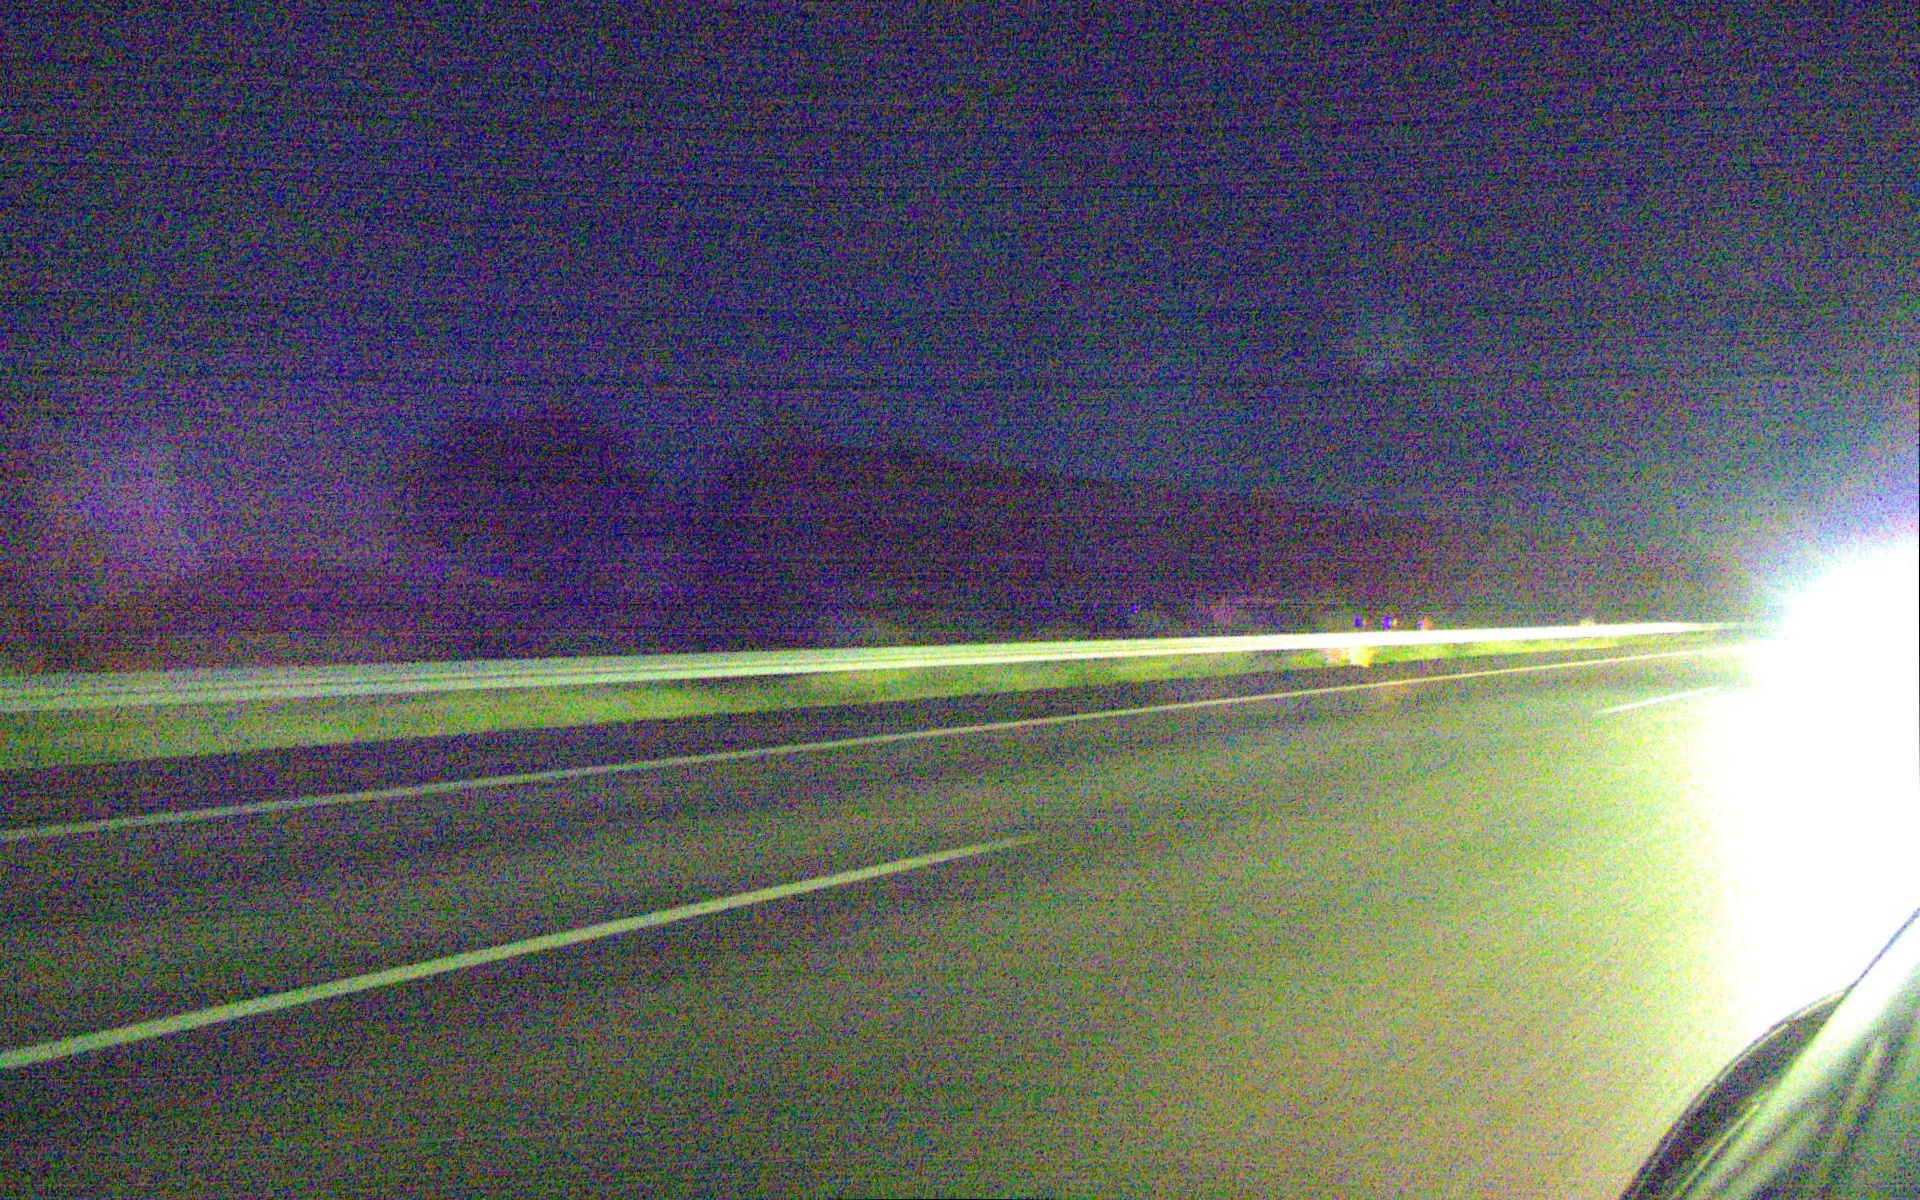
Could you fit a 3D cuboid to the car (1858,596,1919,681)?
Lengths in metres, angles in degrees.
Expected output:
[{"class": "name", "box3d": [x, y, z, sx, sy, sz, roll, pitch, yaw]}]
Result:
[{"class": "car", "box3d": [17.859, 0.664, 18.373, 3.930, 1.430, 1.832, 0, 1, -41]}]

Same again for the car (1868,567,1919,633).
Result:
[{"class": "car", "box3d": [45.016, -0.013, 47.740, 6.118, 2.942, 2.532, 0, 0, -41]}]
